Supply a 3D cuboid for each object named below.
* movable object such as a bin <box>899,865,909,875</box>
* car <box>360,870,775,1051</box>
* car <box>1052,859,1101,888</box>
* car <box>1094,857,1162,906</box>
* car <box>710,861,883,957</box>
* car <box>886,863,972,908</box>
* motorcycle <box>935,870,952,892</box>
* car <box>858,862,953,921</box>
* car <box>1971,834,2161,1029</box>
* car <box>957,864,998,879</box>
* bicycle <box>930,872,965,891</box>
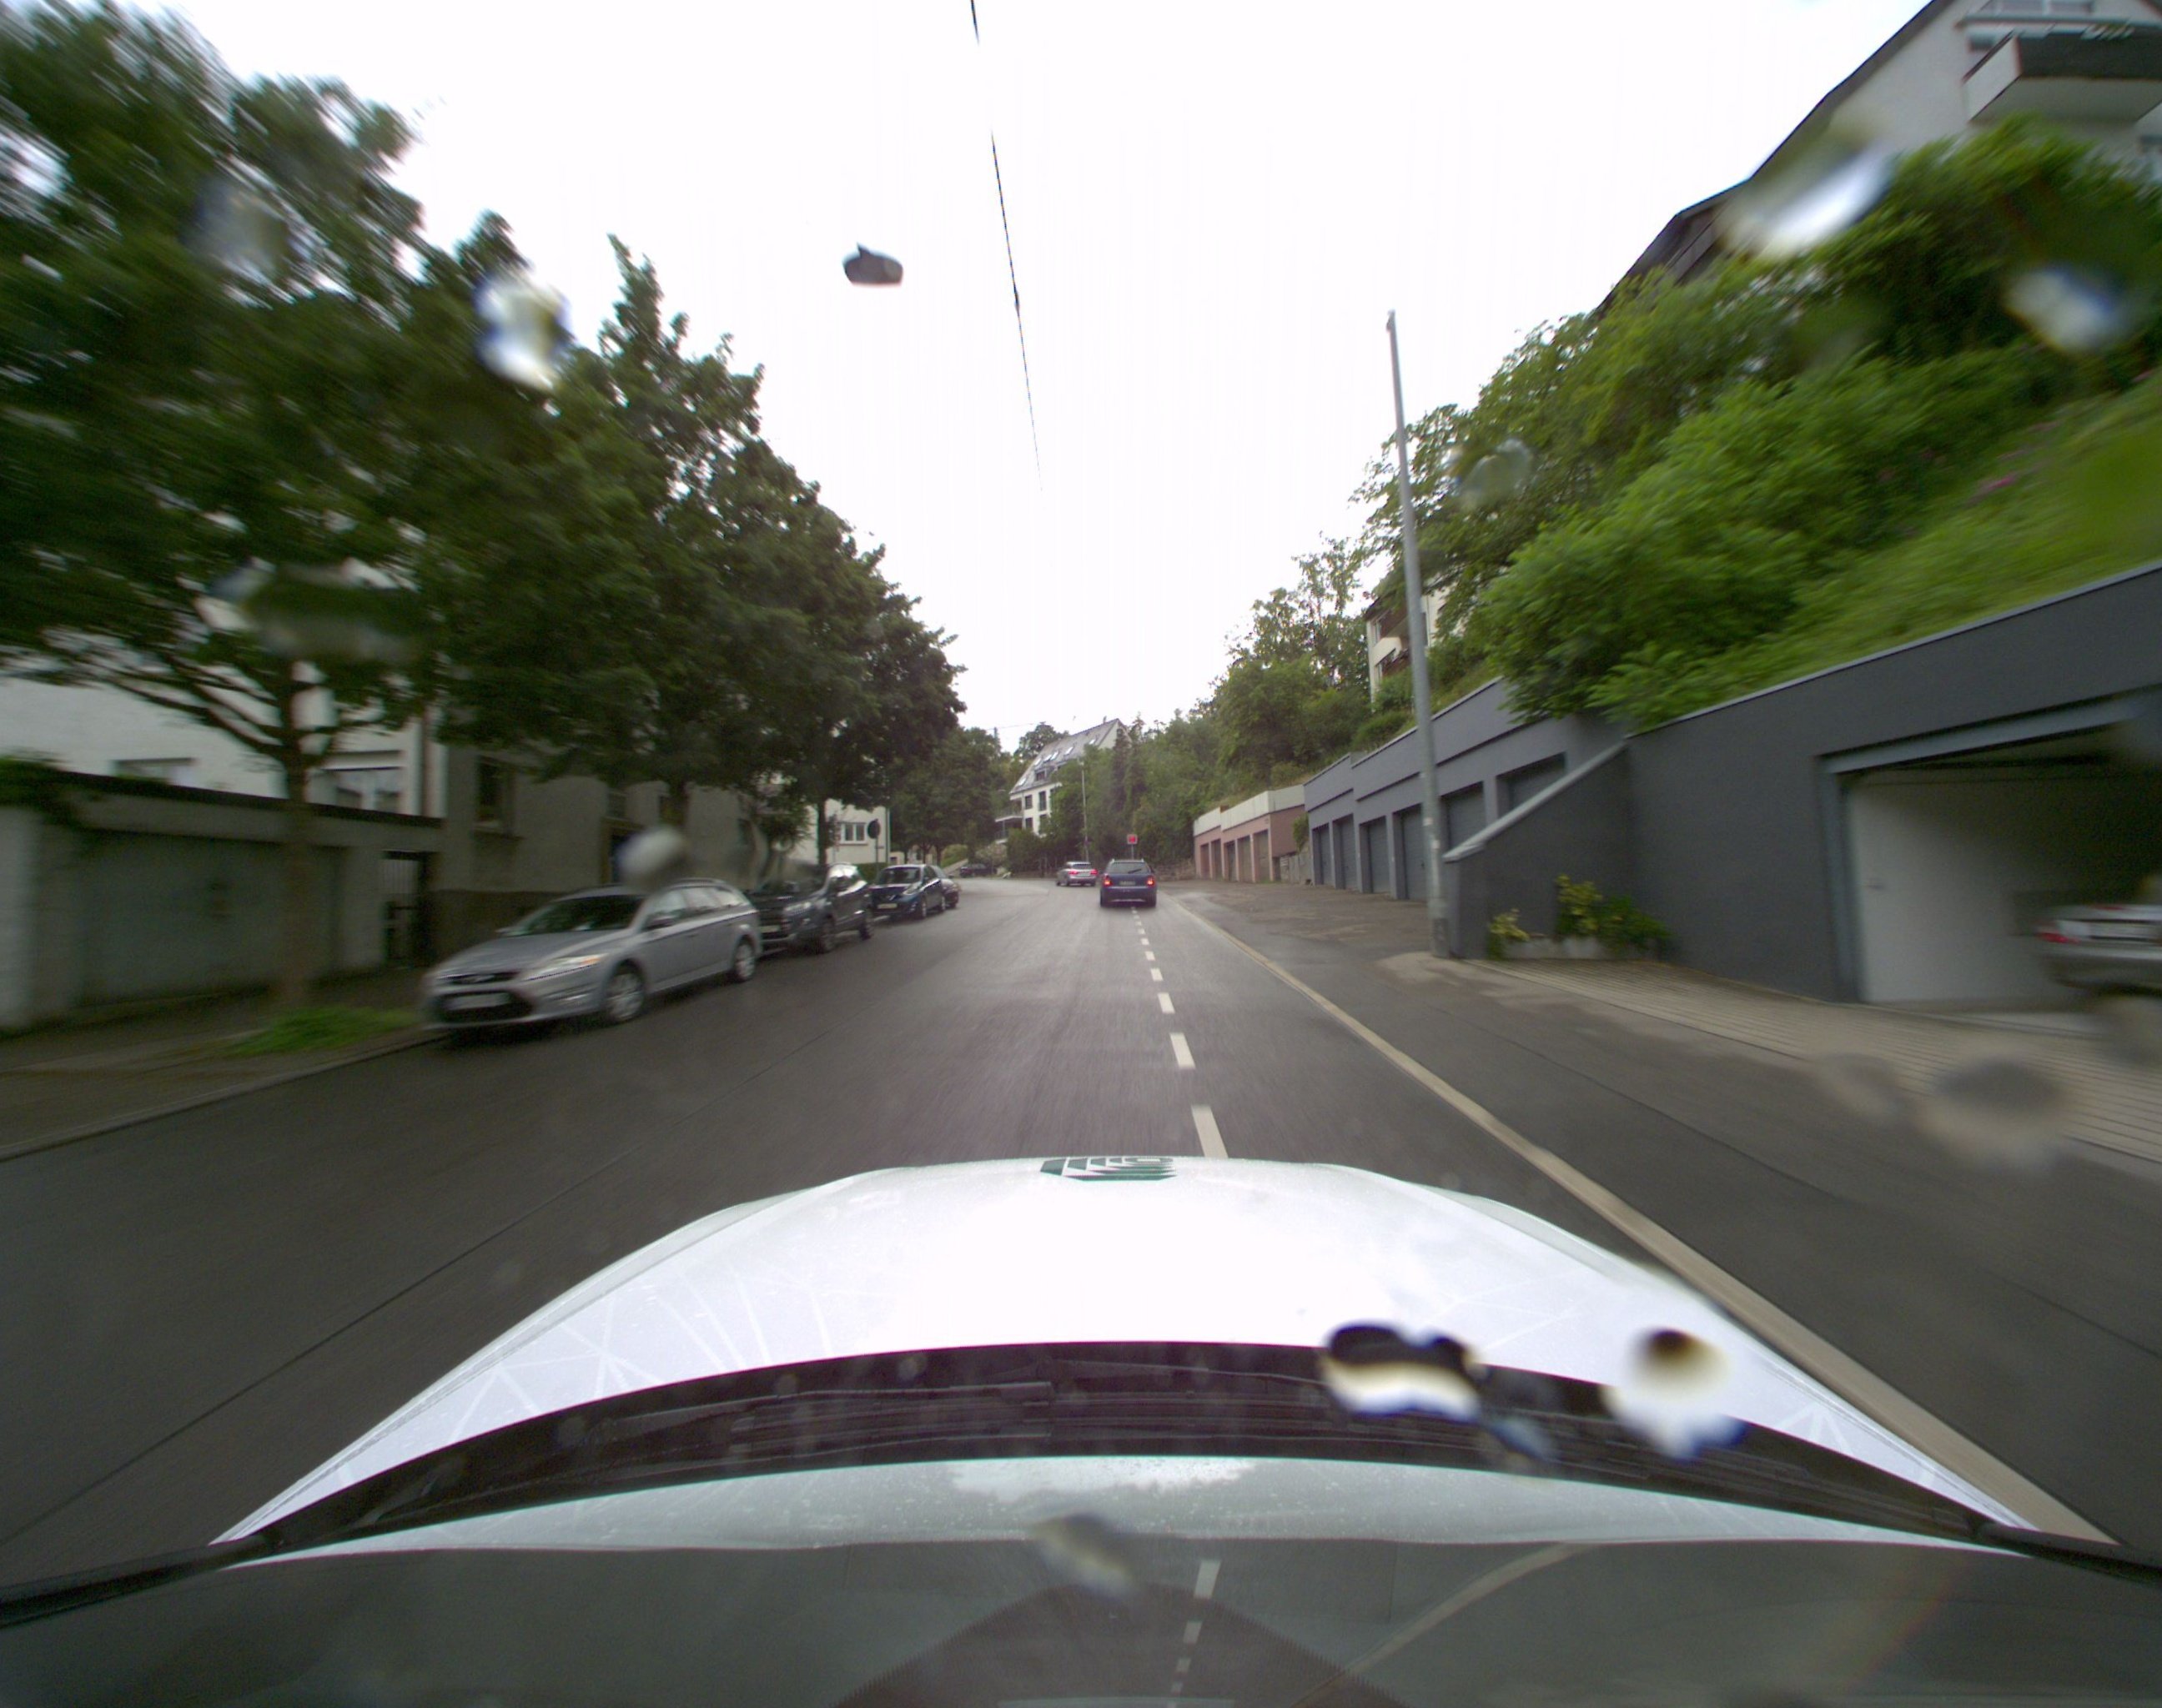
[{"bbox_3d":[-21.388,1.923,98.327,0.777,1.185,0.867,-1,-1,27],"label":"movable object such as a bin"},{"bbox_3d":[-5.646,1.059,9.909,1.798,1.552,4.801,-4,-2,2],"label":"car"},{"bbox_3d":[-0.305,1.145,48.971,1.953,1.561,4.242,2,0,-14],"label":"car"},{"bbox_3d":[1.416,0.830,26.222,1.848,1.414,4.359,-1,0,-1],"label":"car"},{"bbox_3d":[-5.390,0.973,16.026,1.797,1.627,4.141,-1,-1,2],"label":"car"},{"bbox_3d":[-5.379,1.057,28.349,2.003,1.391,4.163,-1,-1,-24],"label":"car"},{"bbox_3d":[-7.885,1.548,46.632,0.554,1.203,1.401,-1,0,6],"label":"motorcycle"},{"bbox_3d":[-4.968,1.019,23.605,1.705,1.462,3.884,0,1,3],"label":"car"},{"bbox_3d":[9.855,0.659,6.345,3.658,1.421,1.660,2,-3,12],"label":"car"},{"bbox_3d":[-11.107,1.842,87.681,1.718,1.508,4.208,-2,-1,42],"label":"car"},{"bbox_3d":[-8.103,1.674,49.559,1.971,1.060,0.748,-1,-1,-23],"label":"bicycle"}]
